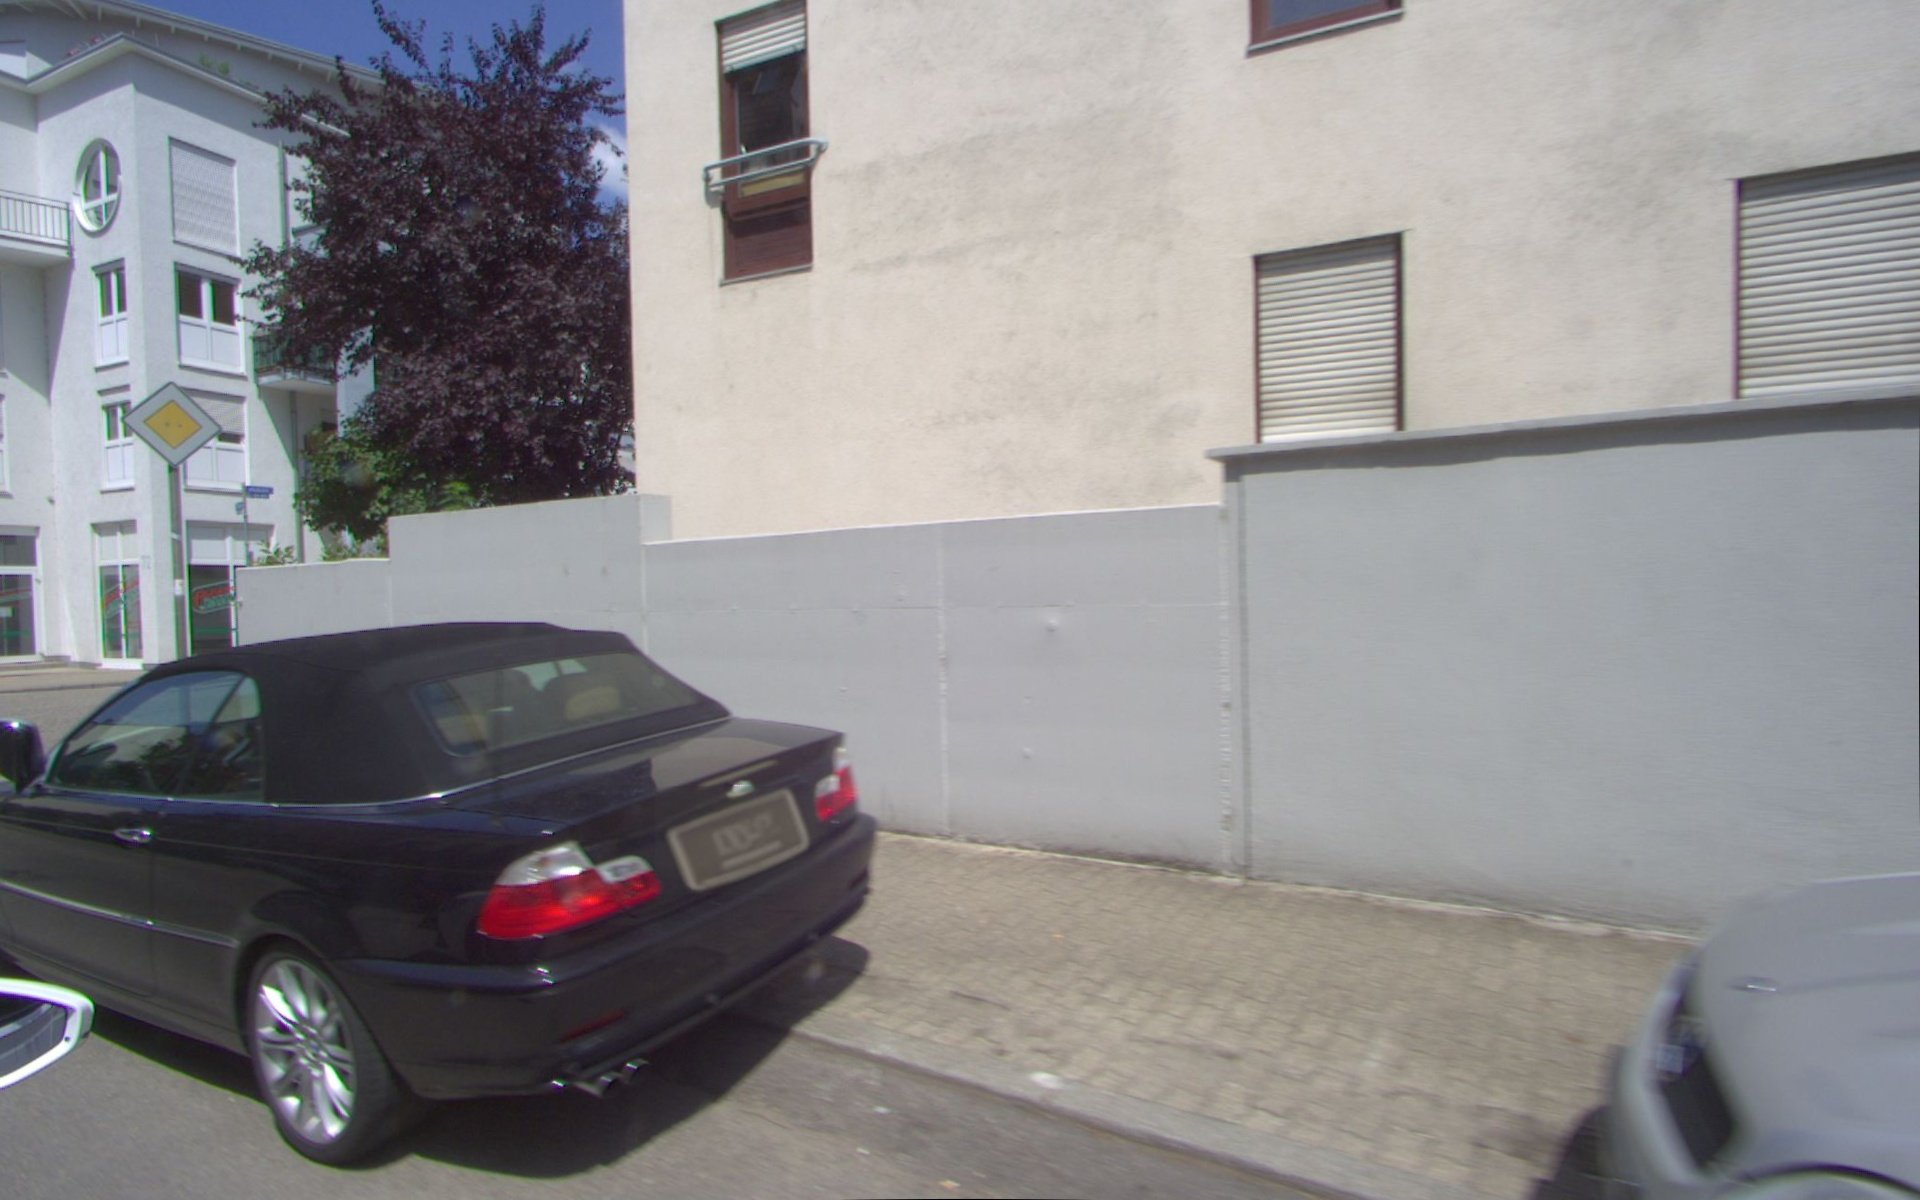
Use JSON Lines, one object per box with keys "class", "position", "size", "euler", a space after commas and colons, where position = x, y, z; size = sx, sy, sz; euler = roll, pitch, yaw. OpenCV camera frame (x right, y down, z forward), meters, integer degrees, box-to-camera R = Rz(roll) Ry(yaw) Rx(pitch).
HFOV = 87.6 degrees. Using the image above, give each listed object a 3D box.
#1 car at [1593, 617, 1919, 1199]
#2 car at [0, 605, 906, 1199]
{"class": "car", "position": [2.781, 0.747, 0.866], "size": [3.768, 1.372, 1.580], "euler": [-1, 3, 33]}
{"class": "car", "position": [-2.412, 0.753, 3.919], "size": [4.176, 1.395, 1.653], "euler": [-1, 1, 30]}
